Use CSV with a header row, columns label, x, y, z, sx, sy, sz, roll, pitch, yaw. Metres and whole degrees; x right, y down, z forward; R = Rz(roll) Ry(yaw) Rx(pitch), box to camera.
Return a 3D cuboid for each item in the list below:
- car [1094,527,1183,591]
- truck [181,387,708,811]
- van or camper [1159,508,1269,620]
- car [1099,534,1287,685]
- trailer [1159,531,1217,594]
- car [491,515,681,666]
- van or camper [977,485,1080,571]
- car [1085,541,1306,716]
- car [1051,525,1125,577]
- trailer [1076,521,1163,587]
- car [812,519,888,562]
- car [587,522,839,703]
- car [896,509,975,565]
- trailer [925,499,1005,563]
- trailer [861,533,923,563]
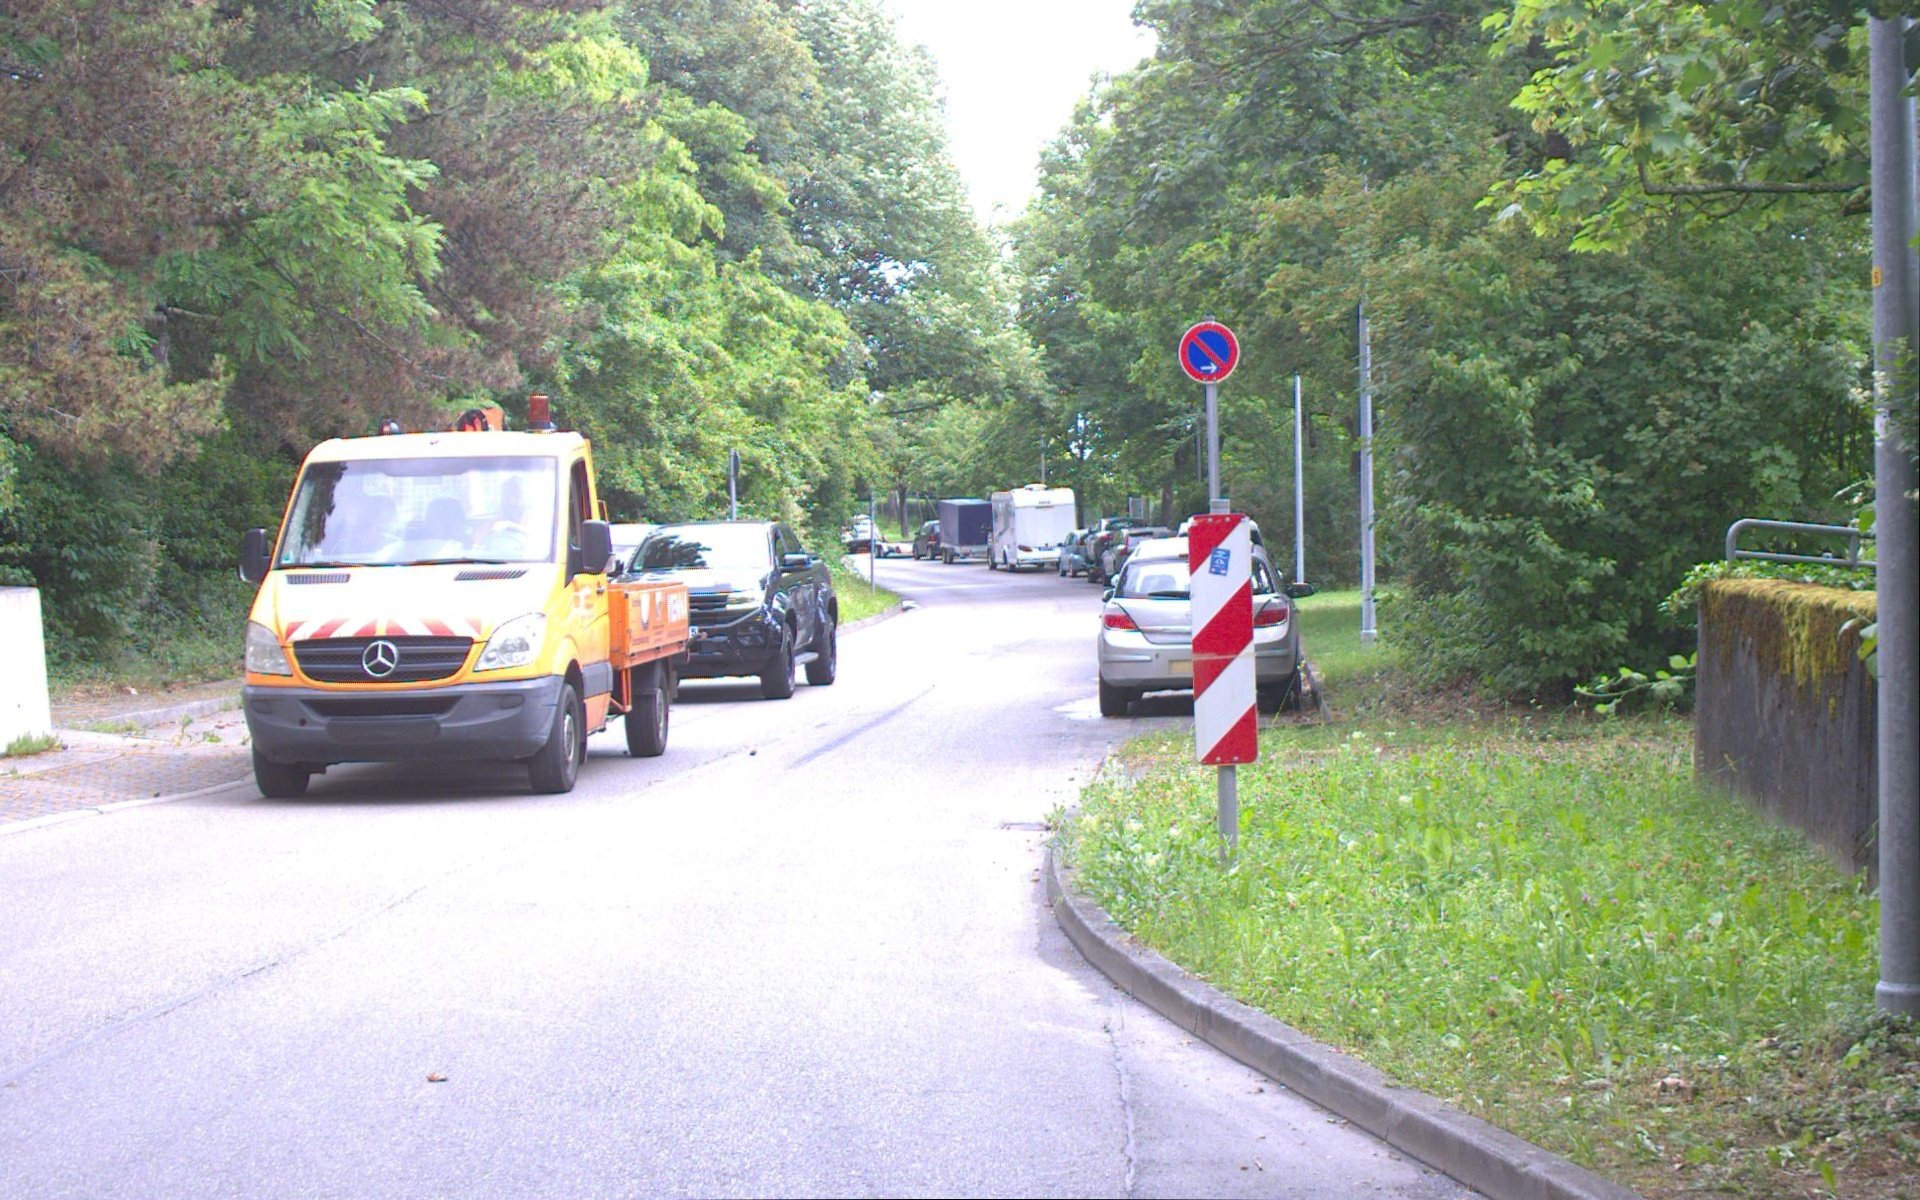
label,x,y,z,sx,sy,sz,roll,pitch,yaw
car,4.943,-1.125,95.727,1.792,1.664,4.502,-2,0,-5
truck,-3.256,-0.082,23.211,2.322,2.461,6.020,1,1,3
van or camper,4.361,-0.583,59.450,1.802,1.831,4.320,-1,0,3
car,2.572,0.050,38.011,1.886,1.501,5.175,-1,1,4
trailer,5.910,-0.986,89.279,1.278,1.579,2.460,-1,1,0
car,-5.011,-0.175,46.515,1.721,1.915,4.104,1,2,6
van or camper,2.376,-2.542,121.634,2.481,2.866,6.891,-2,1,-8
car,2.143,0.205,30.580,1.793,1.406,4.058,-2,1,5
car,4.126,-1.589,111.243,1.799,1.556,3.836,-2,2,-6
trailer,4.703,-1.391,101.884,1.979,1.805,5.150,-2,2,-3
car,-4.826,-2.601,150.515,2.034,1.797,4.084,-3,2,-21
car,-2.505,0.085,36.156,1.994,1.729,5.336,-1,1,3
car,-1.013,-2.532,137.623,1.993,2.018,4.002,-5,4,-16
trailer,0.160,-2.659,132.228,1.993,2.390,4.001,-2,1,-16
trailer,-2.808,-2.162,141.410,1.651,1.083,4.001,-4,2,-13
